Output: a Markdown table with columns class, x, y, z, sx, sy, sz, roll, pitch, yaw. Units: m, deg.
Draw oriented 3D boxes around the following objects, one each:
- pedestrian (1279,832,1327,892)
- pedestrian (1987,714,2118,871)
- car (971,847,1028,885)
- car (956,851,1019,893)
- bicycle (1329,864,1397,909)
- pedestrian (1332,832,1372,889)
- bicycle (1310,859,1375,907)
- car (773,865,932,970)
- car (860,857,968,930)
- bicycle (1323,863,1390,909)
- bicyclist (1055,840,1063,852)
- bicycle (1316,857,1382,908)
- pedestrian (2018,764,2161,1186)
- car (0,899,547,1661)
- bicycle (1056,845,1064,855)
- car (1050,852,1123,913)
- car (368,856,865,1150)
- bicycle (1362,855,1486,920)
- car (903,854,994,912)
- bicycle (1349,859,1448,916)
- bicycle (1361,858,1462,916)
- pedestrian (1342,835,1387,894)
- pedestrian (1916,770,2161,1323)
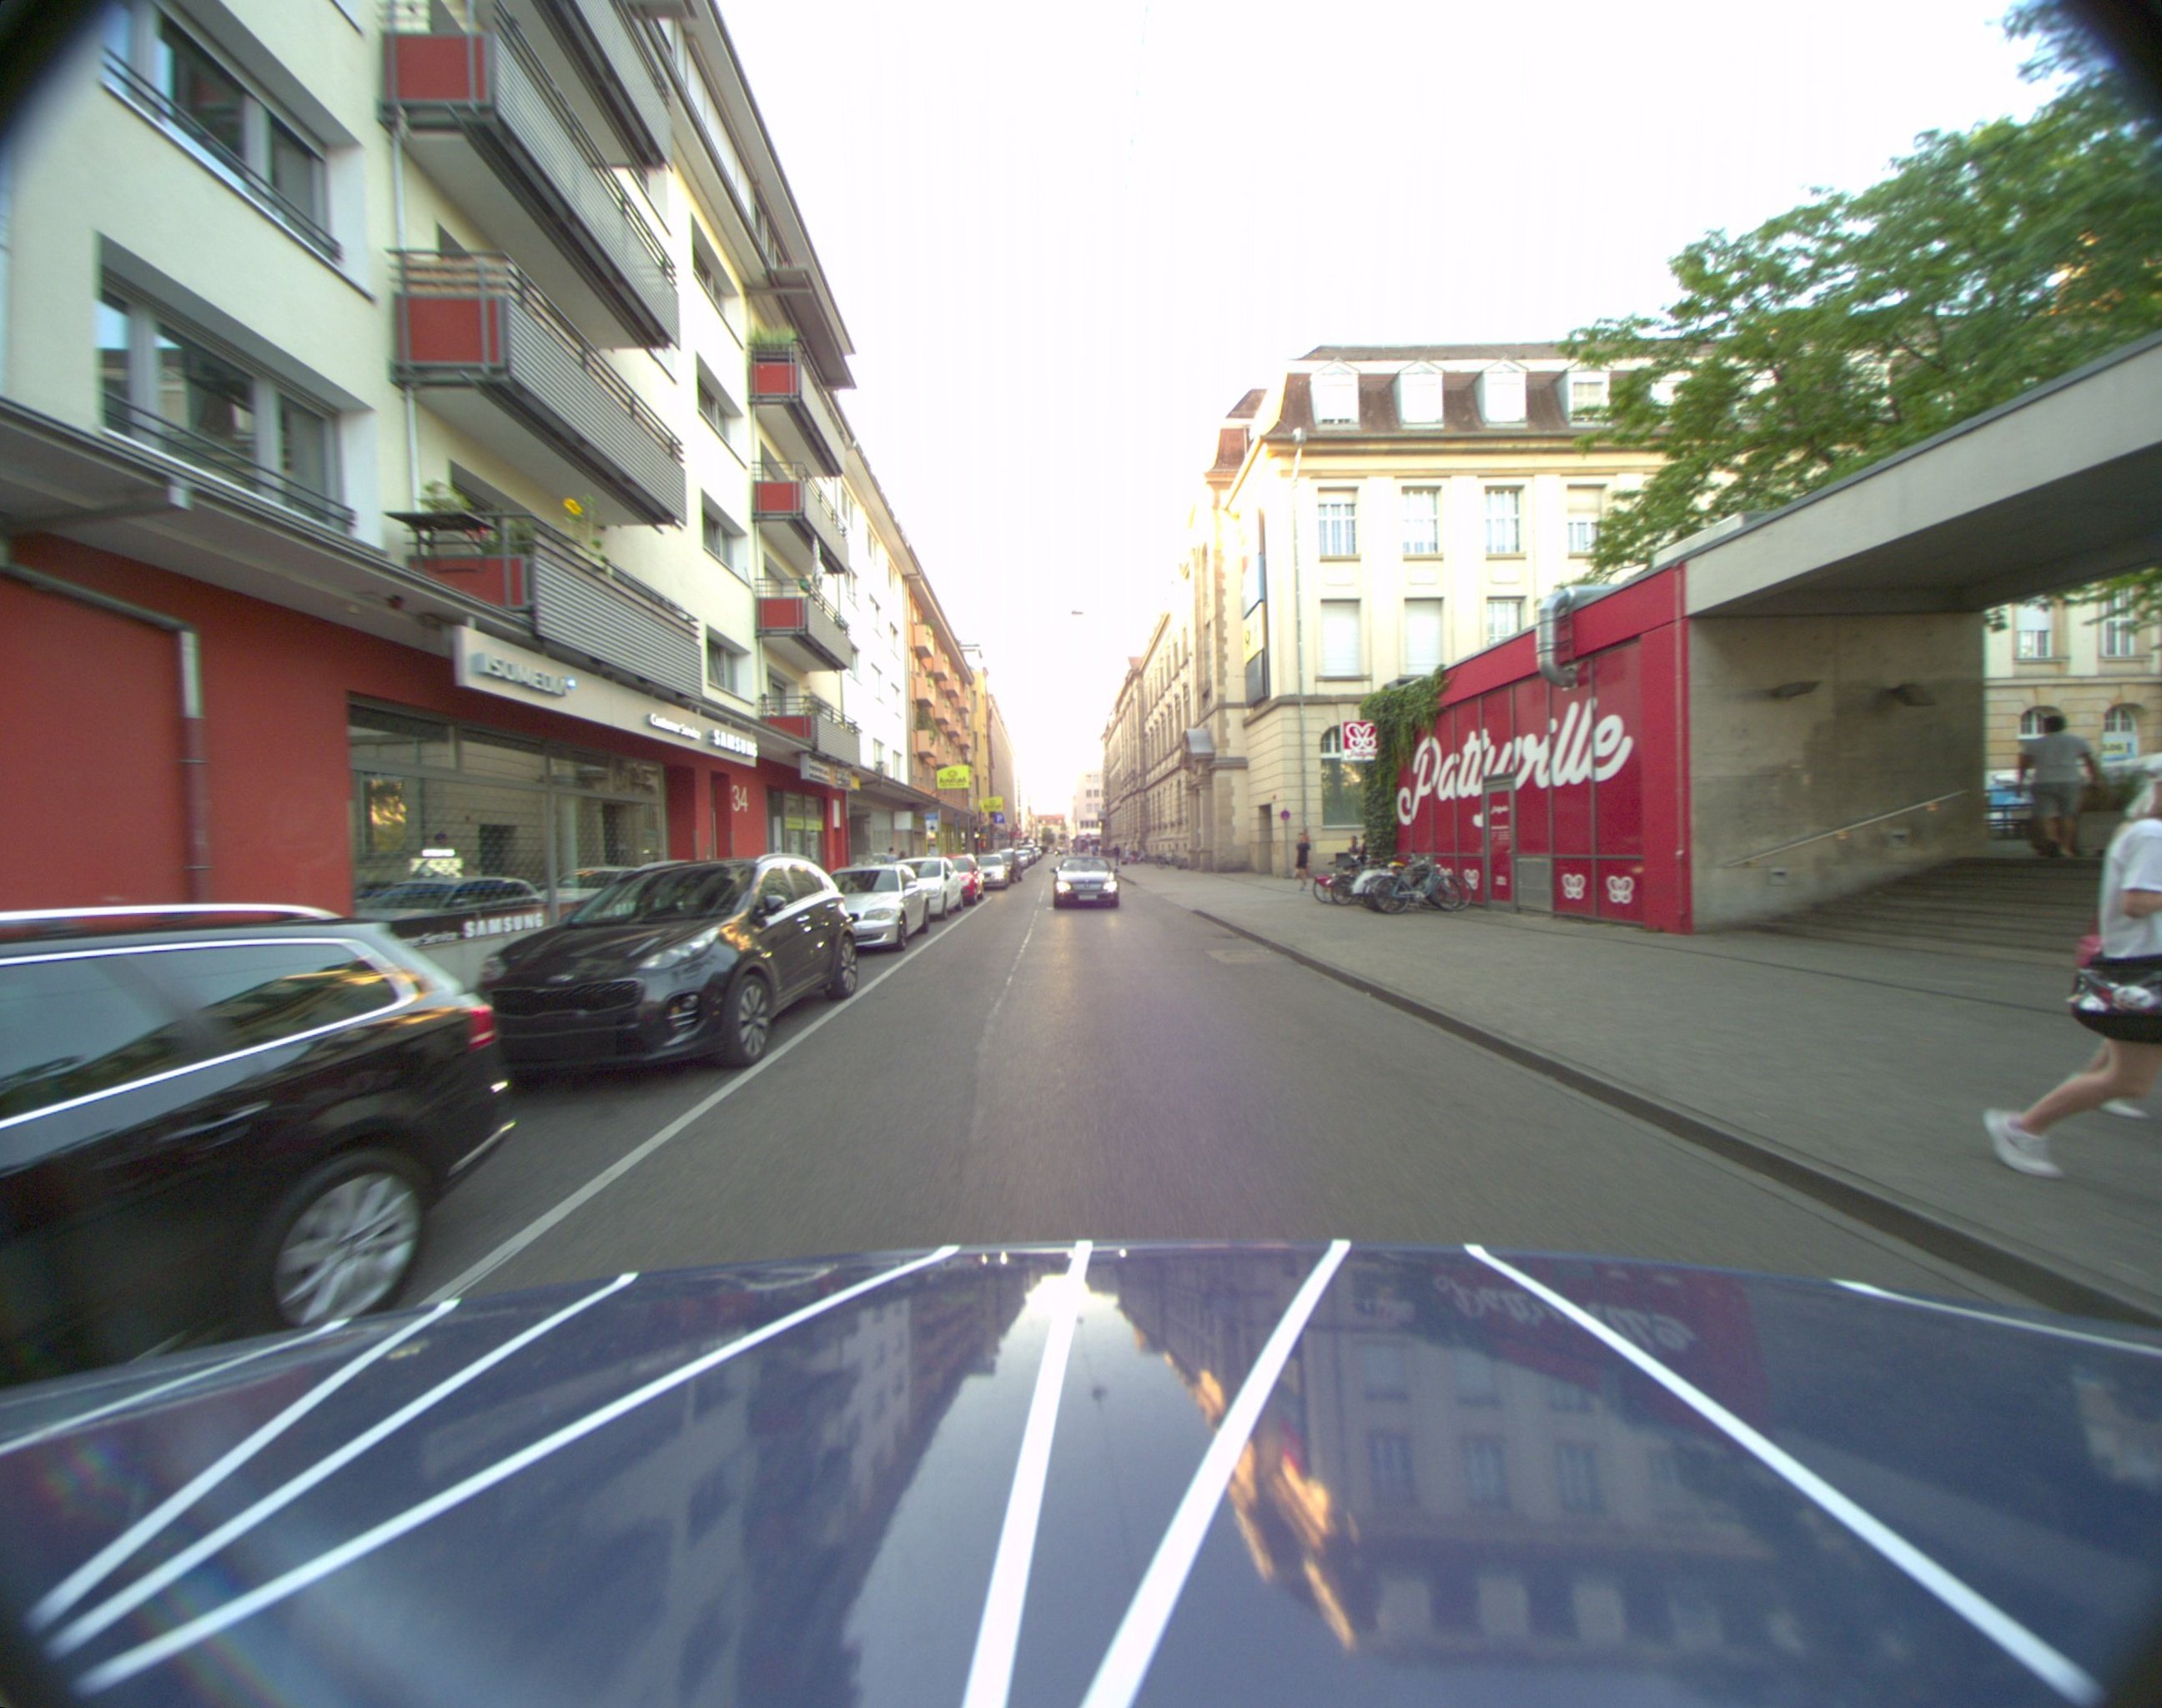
| class | x | y | z | sx | sy | sz | roll | pitch | yaw |
| --- | --- | --- | --- | --- | --- | --- | --- | --- | --- |
| pedestrian | 7.031 | 0.261 | 24.061 | 1.009 | 1.816 | 0.944 | -4 | 1 | -28 |
| pedestrian | 12.000 | -0.720 | 9.410 | 0.833 | 1.816 | 0.943 | -4 | 1 | -38 |
| car | -3.837 | 0.528 | 36.596 | 1.998 | 1.607 | 4.367 | -3 | 1 | 3 |
| car | -3.708 | 0.680 | 30.874 | 1.897 | 1.468 | 4.300 | -3 | 1 | 1 |
| bicycle | 6.594 | 0.756 | 17.797 | 1.501 | 0.950 | 0.312 | -3 | 1 | -10 |
| pedestrian | 8.469 | 0.189 | 23.768 | 0.920 | 1.717 | 0.702 | -2 | 1 | -6 |
| bicycle | 6.467 | 0.703 | 18.768 | 1.501 | 1.070 | 0.312 | -3 | 1 | -10 |
| car | -3.806 | 0.973 | 13.383 | 1.752 | 1.395 | 3.965 | -3 | 1 | -4 |
| car | -3.987 | 0.874 | 18.764 | 1.767 | 1.468 | 3.947 | -3 | 1 | -1 |
| bicycle | 6.564 | 0.757 | 18.107 | 1.501 | 0.973 | 0.312 | -3 | 1 | -10 |
| bicyclist | -3.531 | -1.290 | 122.599 | 1.045 | 2.002 | 1.182 | -2 | 1 | 1 |
| bicycle | 6.493 | 0.681 | 18.424 | 1.501 | 1.134 | 0.312 | -3 | 1 | -10 |
| pedestrian | 4.937 | 0.492 | 3.286 | 0.811 | 1.783 | 0.736 | -3 | 1 | 1 |
| car | -3.334 | 1.040 | 0.988 | 1.878 | 1.543 | 4.630 | -3 | 1 | 1 |
| bicycle | -3.429 | -0.660 | 122.886 | 1.038 | 1.513 | 2.822 | -2 | 1 | 3 |
| car | 0.170 | 0.713 | 21.369 | 1.809 | 1.400 | 4.616 | -1 | 2 | 1 |
| car | -3.488 | 0.939 | 6.831 | 1.884 | 1.690 | 4.136 | -3 | 1 | -1 |
| bicycle | 6.768 | 0.658 | 15.056 | 2.180 | 1.149 | 0.446 | -3 | 1 | 4 |
| car | -3.915 | 0.805 | 23.196 | 1.866 | 1.468 | 4.394 | -3 | 1 | 1 |
| bicycle | 6.612 | 0.689 | 15.874 | 1.844 | 1.077 | 0.354 | -3 | 1 | 4 |
| bicycle | 6.695 | 0.676 | 15.423 | 1.844 | 1.077 | 0.354 | -3 | 1 | 4 |
| pedestrian | 8.542 | 0.312 | 22.930 | 0.921 | 1.717 | 0.833 | -2 | 1 | -9 |
| pedestrian | 3.870 | 0.599 | 2.675 | 0.851 | 1.783 | 0.869 | -3 | 1 | 1 |
